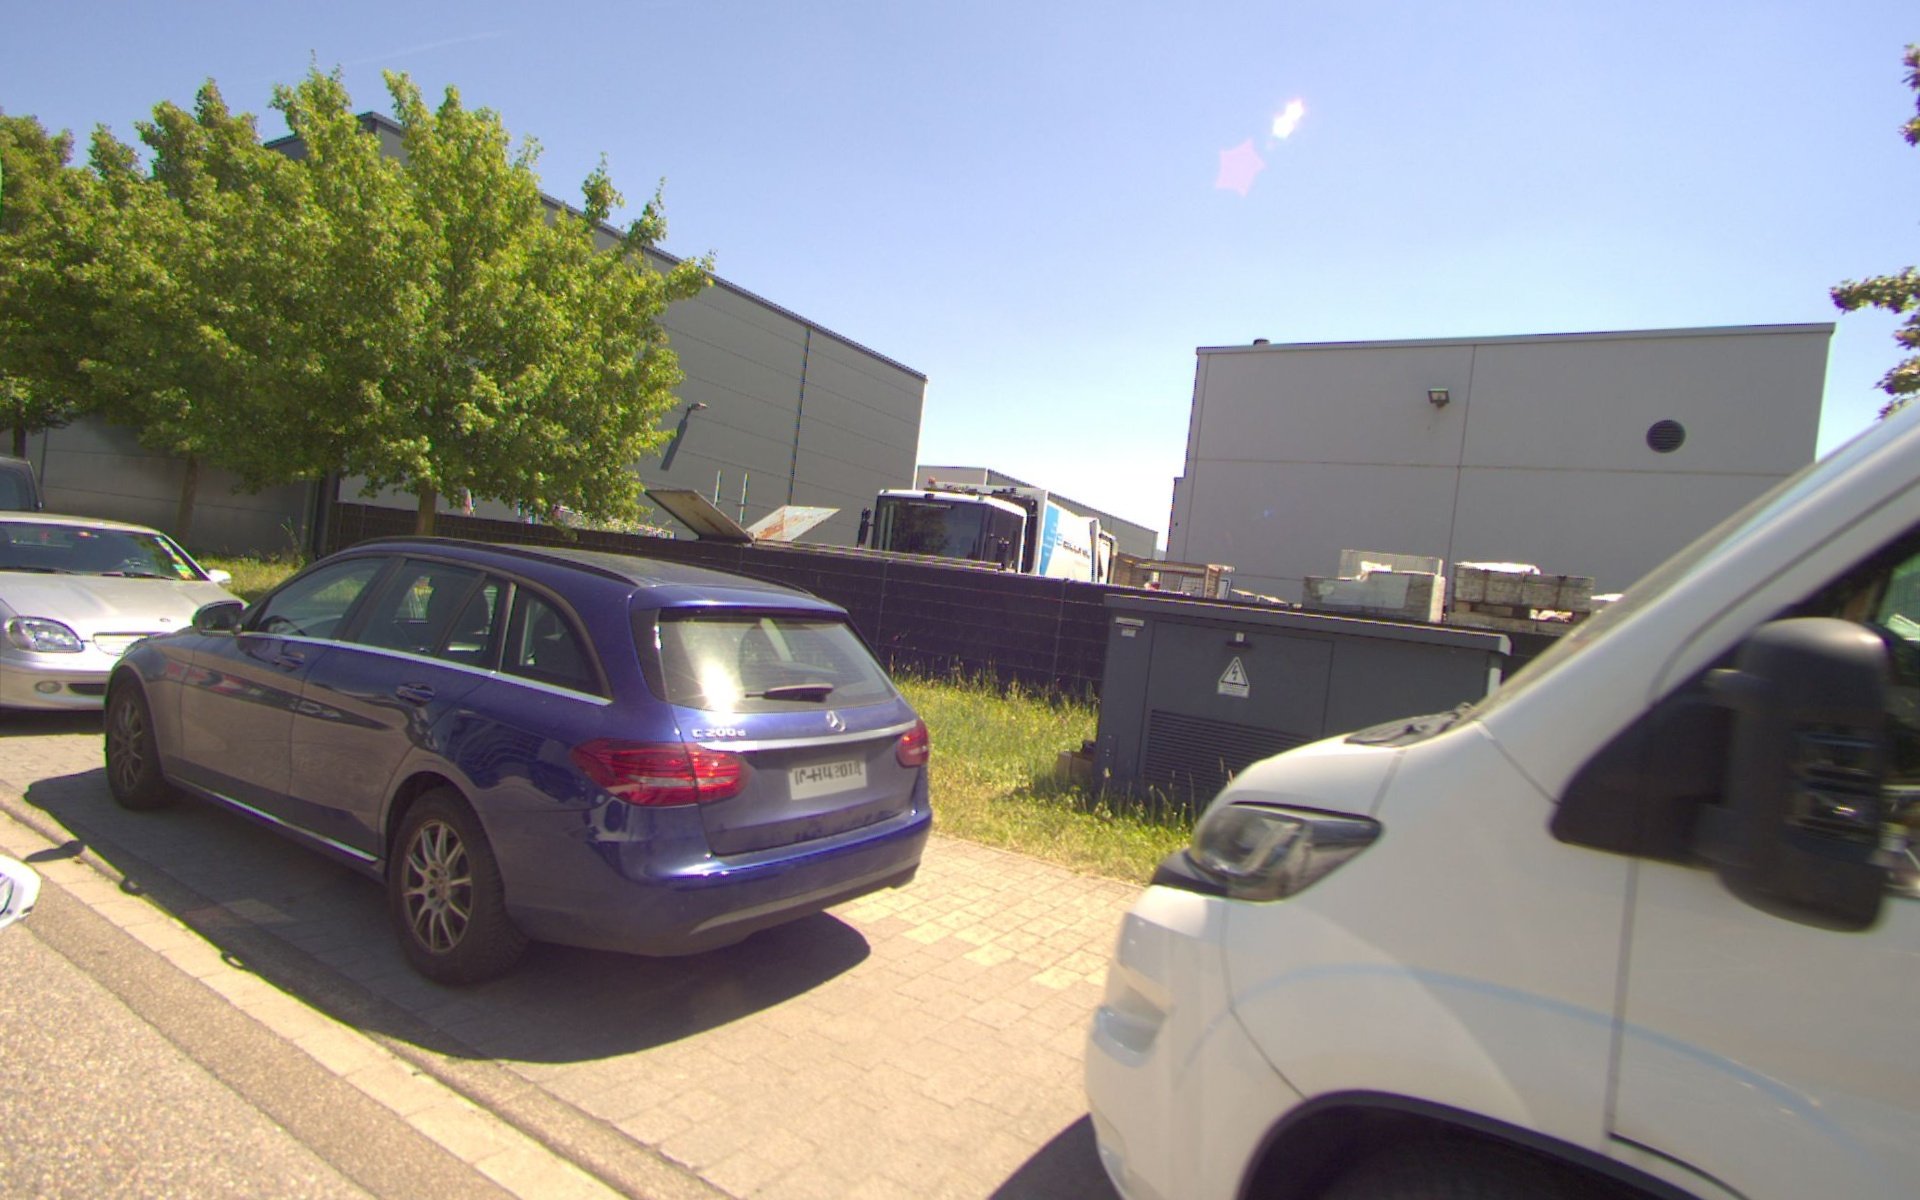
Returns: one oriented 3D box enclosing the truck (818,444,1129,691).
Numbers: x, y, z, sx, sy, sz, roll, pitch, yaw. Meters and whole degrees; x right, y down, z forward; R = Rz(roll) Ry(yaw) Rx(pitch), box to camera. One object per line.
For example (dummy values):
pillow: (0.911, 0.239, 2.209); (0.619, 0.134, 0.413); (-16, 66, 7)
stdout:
truck: (0.914, -0.413, 21.513); (2.981, 3.870, 10.005); (7, 0, 21)

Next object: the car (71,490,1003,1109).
car: (-2.213, 0.467, 4.721); (4.406, 1.513, 1.829); (7, 1, 34)

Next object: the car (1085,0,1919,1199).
car: (3.427, 0.605, 1.077); (6.053, 2.529, 2.268); (7, 1, 34)

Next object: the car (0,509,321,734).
car: (-6.760, 0.016, 7.597); (4.049, 1.303, 1.712); (6, 0, 34)

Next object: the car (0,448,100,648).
car: (-10.913, -0.701, 10.229); (4.282, 1.848, 1.995); (6, 0, 32)
